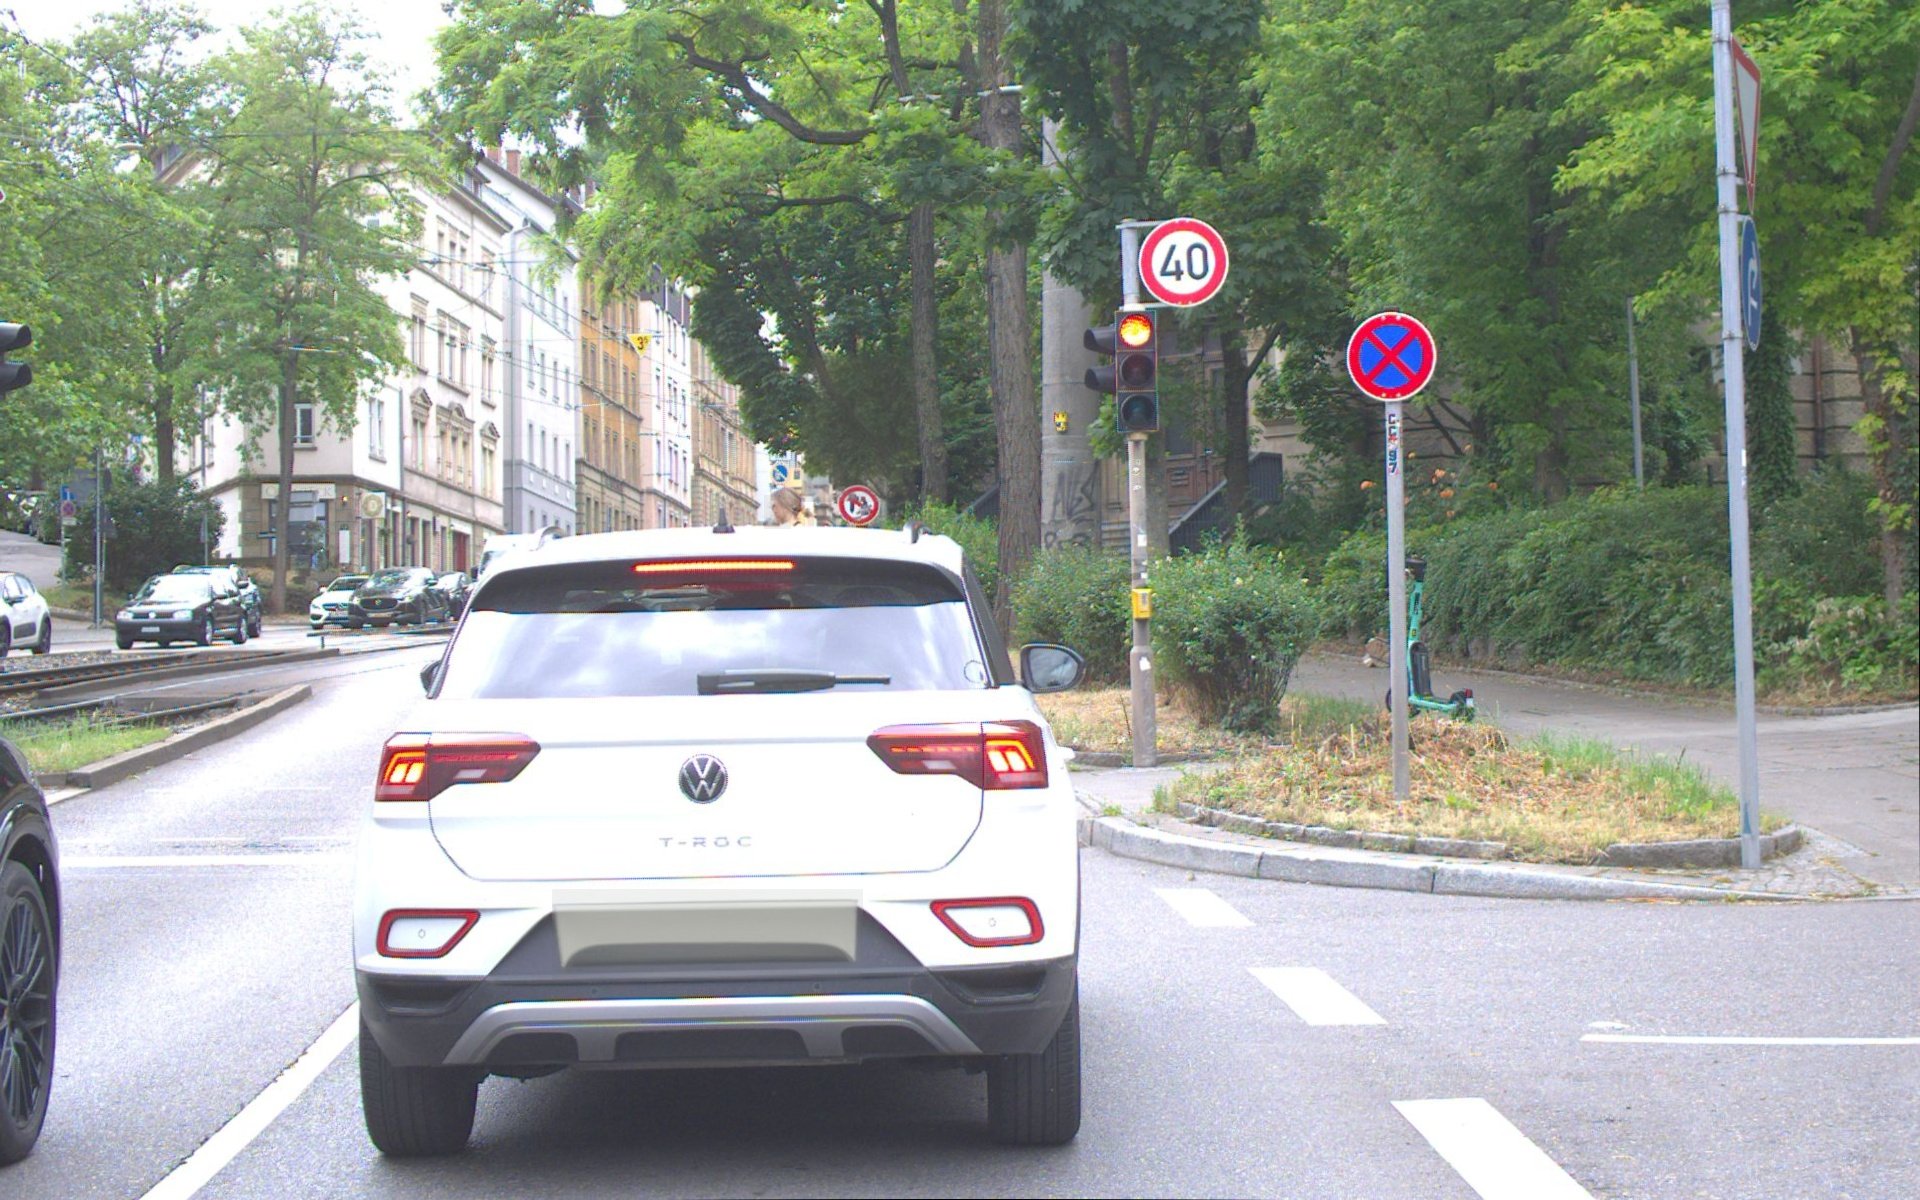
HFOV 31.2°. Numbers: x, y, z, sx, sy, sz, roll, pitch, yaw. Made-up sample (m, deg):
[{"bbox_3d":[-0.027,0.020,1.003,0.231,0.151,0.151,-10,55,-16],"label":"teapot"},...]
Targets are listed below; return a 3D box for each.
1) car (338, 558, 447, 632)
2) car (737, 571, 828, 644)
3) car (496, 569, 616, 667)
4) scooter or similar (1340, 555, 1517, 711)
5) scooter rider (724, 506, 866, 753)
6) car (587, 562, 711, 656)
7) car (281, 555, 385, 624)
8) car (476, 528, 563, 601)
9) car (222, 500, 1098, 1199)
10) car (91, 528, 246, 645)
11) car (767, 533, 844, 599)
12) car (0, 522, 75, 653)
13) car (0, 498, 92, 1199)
[{"bbox_3d":[-13.927,-0.109,84.565,1.993,1.618,4.000,2,-2,-1],"label":"car"},{"bbox_3d":[-4.305,0.205,83.946,1.993,1.618,4.000,2,-2,-1],"label":"car"},{"bbox_3d":[-8.008,0.389,68.371,1.839,1.734,3.999,0,-3,1],"label":"car"},{"bbox_3d":[3.397,0.233,25.005,0.474,1.096,1.369,-2,1,-32],"label":"scooter or similar"},{"bbox_3d":[-1.054,0.186,22.076,0.778,1.552,0.532,-1,1,9],"label":"scooter rider"},{"bbox_3d":[-5.722,0.184,63.634,1.903,1.569,3.834,2,-2,0],"label":"car"},{"bbox_3d":[-16.452,-0.247,90.378,1.993,1.618,4.000,2,-2,-1],"label":"car"},{"bbox_3d":[-12.743,-1.029,99.700,1.993,2.007,4.000,-2,1,-1],"label":"car"},{"bbox_3d":[-0.718,0.557,9.681,1.938,1.561,4.046,0,0,-1],"label":"car"},{"bbox_3d":[-14.963,-0.225,65.183,1.993,2.007,4.000,2,-2,-1],"label":"car"},{"bbox_3d":[-5.335,-1.189,119.656,2.421,2.162,6.034,-1,1,-1],"label":"car"},{"bbox_3d":[-16.049,-0.193,56.249,1.993,2.007,3.999,2,-2,0],"label":"car"},{"bbox_3d":[-3.242,0.577,6.740,2.027,1.679,4.781,0,-1,-2],"label":"car"}]
